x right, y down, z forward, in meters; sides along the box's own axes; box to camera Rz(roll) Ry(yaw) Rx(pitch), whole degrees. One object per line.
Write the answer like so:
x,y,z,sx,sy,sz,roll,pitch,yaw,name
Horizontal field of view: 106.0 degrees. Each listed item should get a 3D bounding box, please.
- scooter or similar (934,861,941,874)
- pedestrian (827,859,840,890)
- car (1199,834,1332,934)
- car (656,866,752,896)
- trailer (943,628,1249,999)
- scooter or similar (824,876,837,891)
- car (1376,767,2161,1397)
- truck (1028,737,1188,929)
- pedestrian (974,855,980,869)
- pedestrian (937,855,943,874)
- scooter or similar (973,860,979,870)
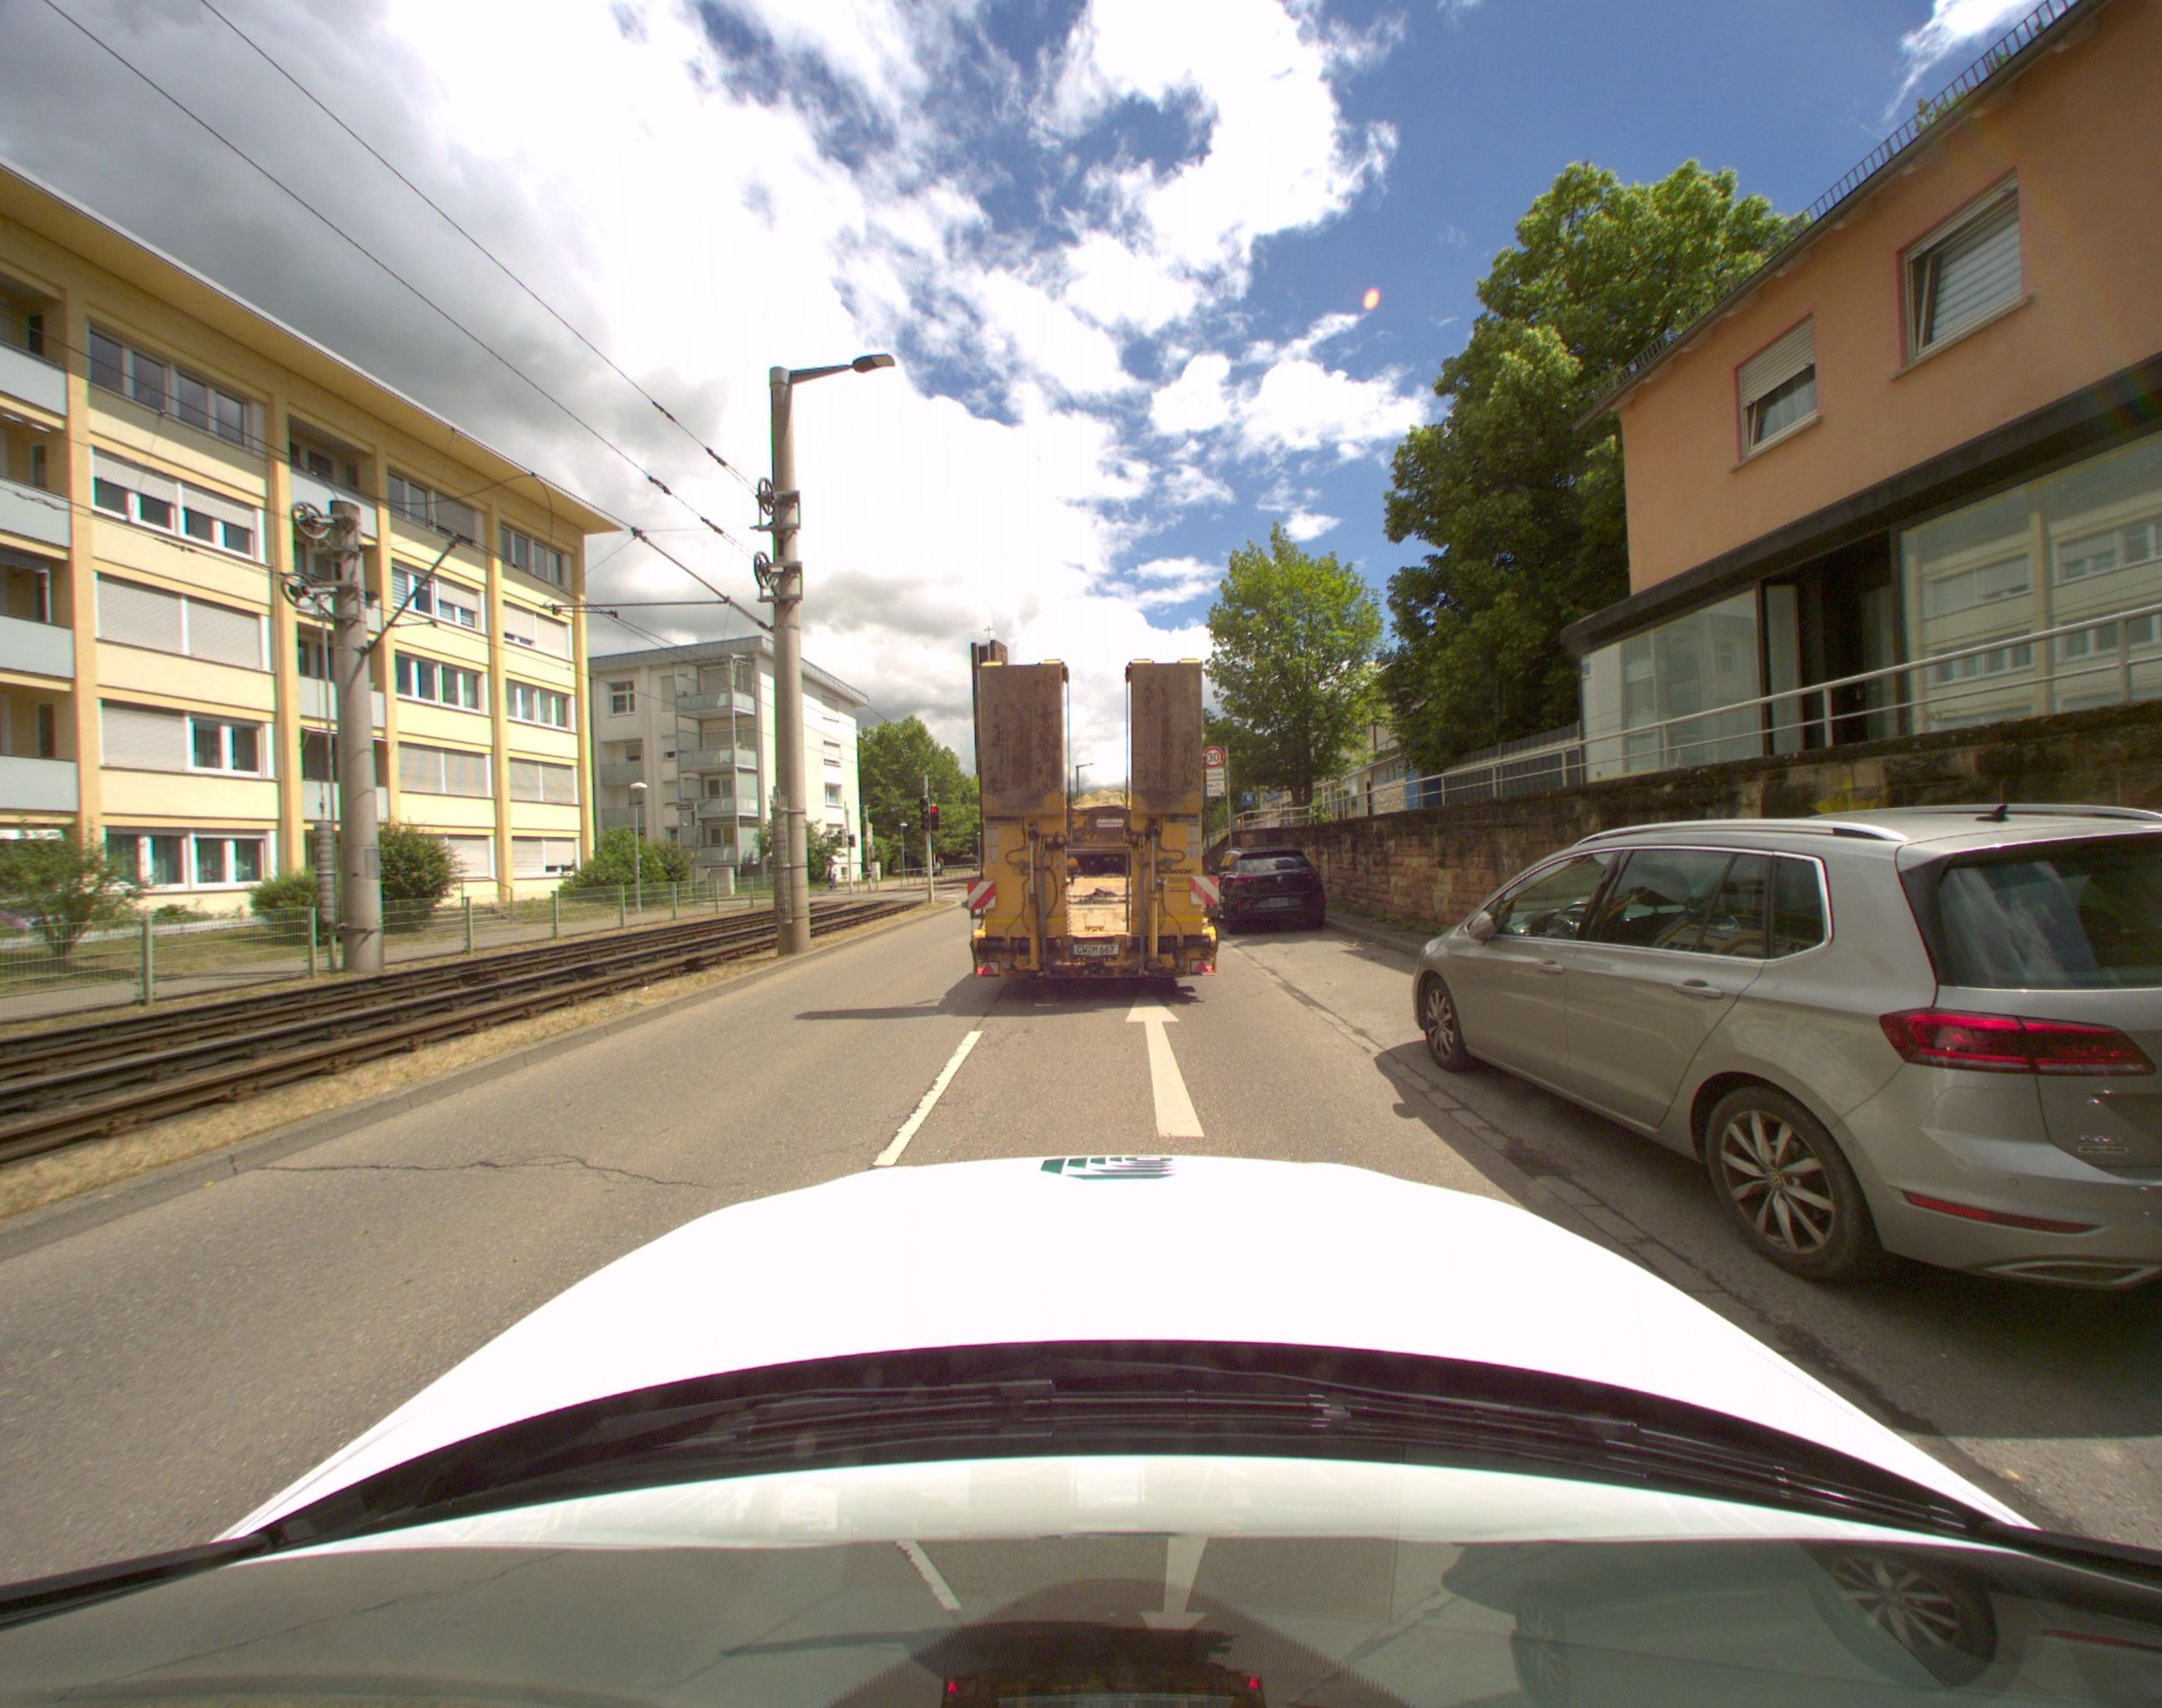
-11.797,1.095,66.735,0.336,1.058,0.689,-3,-1,6,scooter or similar
-12.974,1.083,42.648,0.435,1.581,0.475,-2,0,6,pedestrian
3.521,0.526,16.265,1.843,1.639,4.003,-3,0,3,car
-19.199,1.383,41.545,3.963,1.345,1.906,-2,0,9,car
0.353,-0.407,12.477,2.933,3.601,8.690,-2,0,3,trailer
-12.965,1.502,42.166,0.435,0.747,0.475,-2,0,7,scooter or similar
3.214,0.561,4.257,1.783,1.617,4.249,-3,0,1,car
0.620,-0.406,18.035,2.931,3.572,4.880,-2,0,2,truck
-10.736,0.837,84.189,0.562,1.513,0.646,0,0,1,pedestrian
-11.659,0.898,67.382,0.346,1.537,0.558,-2,0,5,pedestrian
-10.774,1.112,83.541,0.504,0.971,0.646,0,0,1,scooter or similar
